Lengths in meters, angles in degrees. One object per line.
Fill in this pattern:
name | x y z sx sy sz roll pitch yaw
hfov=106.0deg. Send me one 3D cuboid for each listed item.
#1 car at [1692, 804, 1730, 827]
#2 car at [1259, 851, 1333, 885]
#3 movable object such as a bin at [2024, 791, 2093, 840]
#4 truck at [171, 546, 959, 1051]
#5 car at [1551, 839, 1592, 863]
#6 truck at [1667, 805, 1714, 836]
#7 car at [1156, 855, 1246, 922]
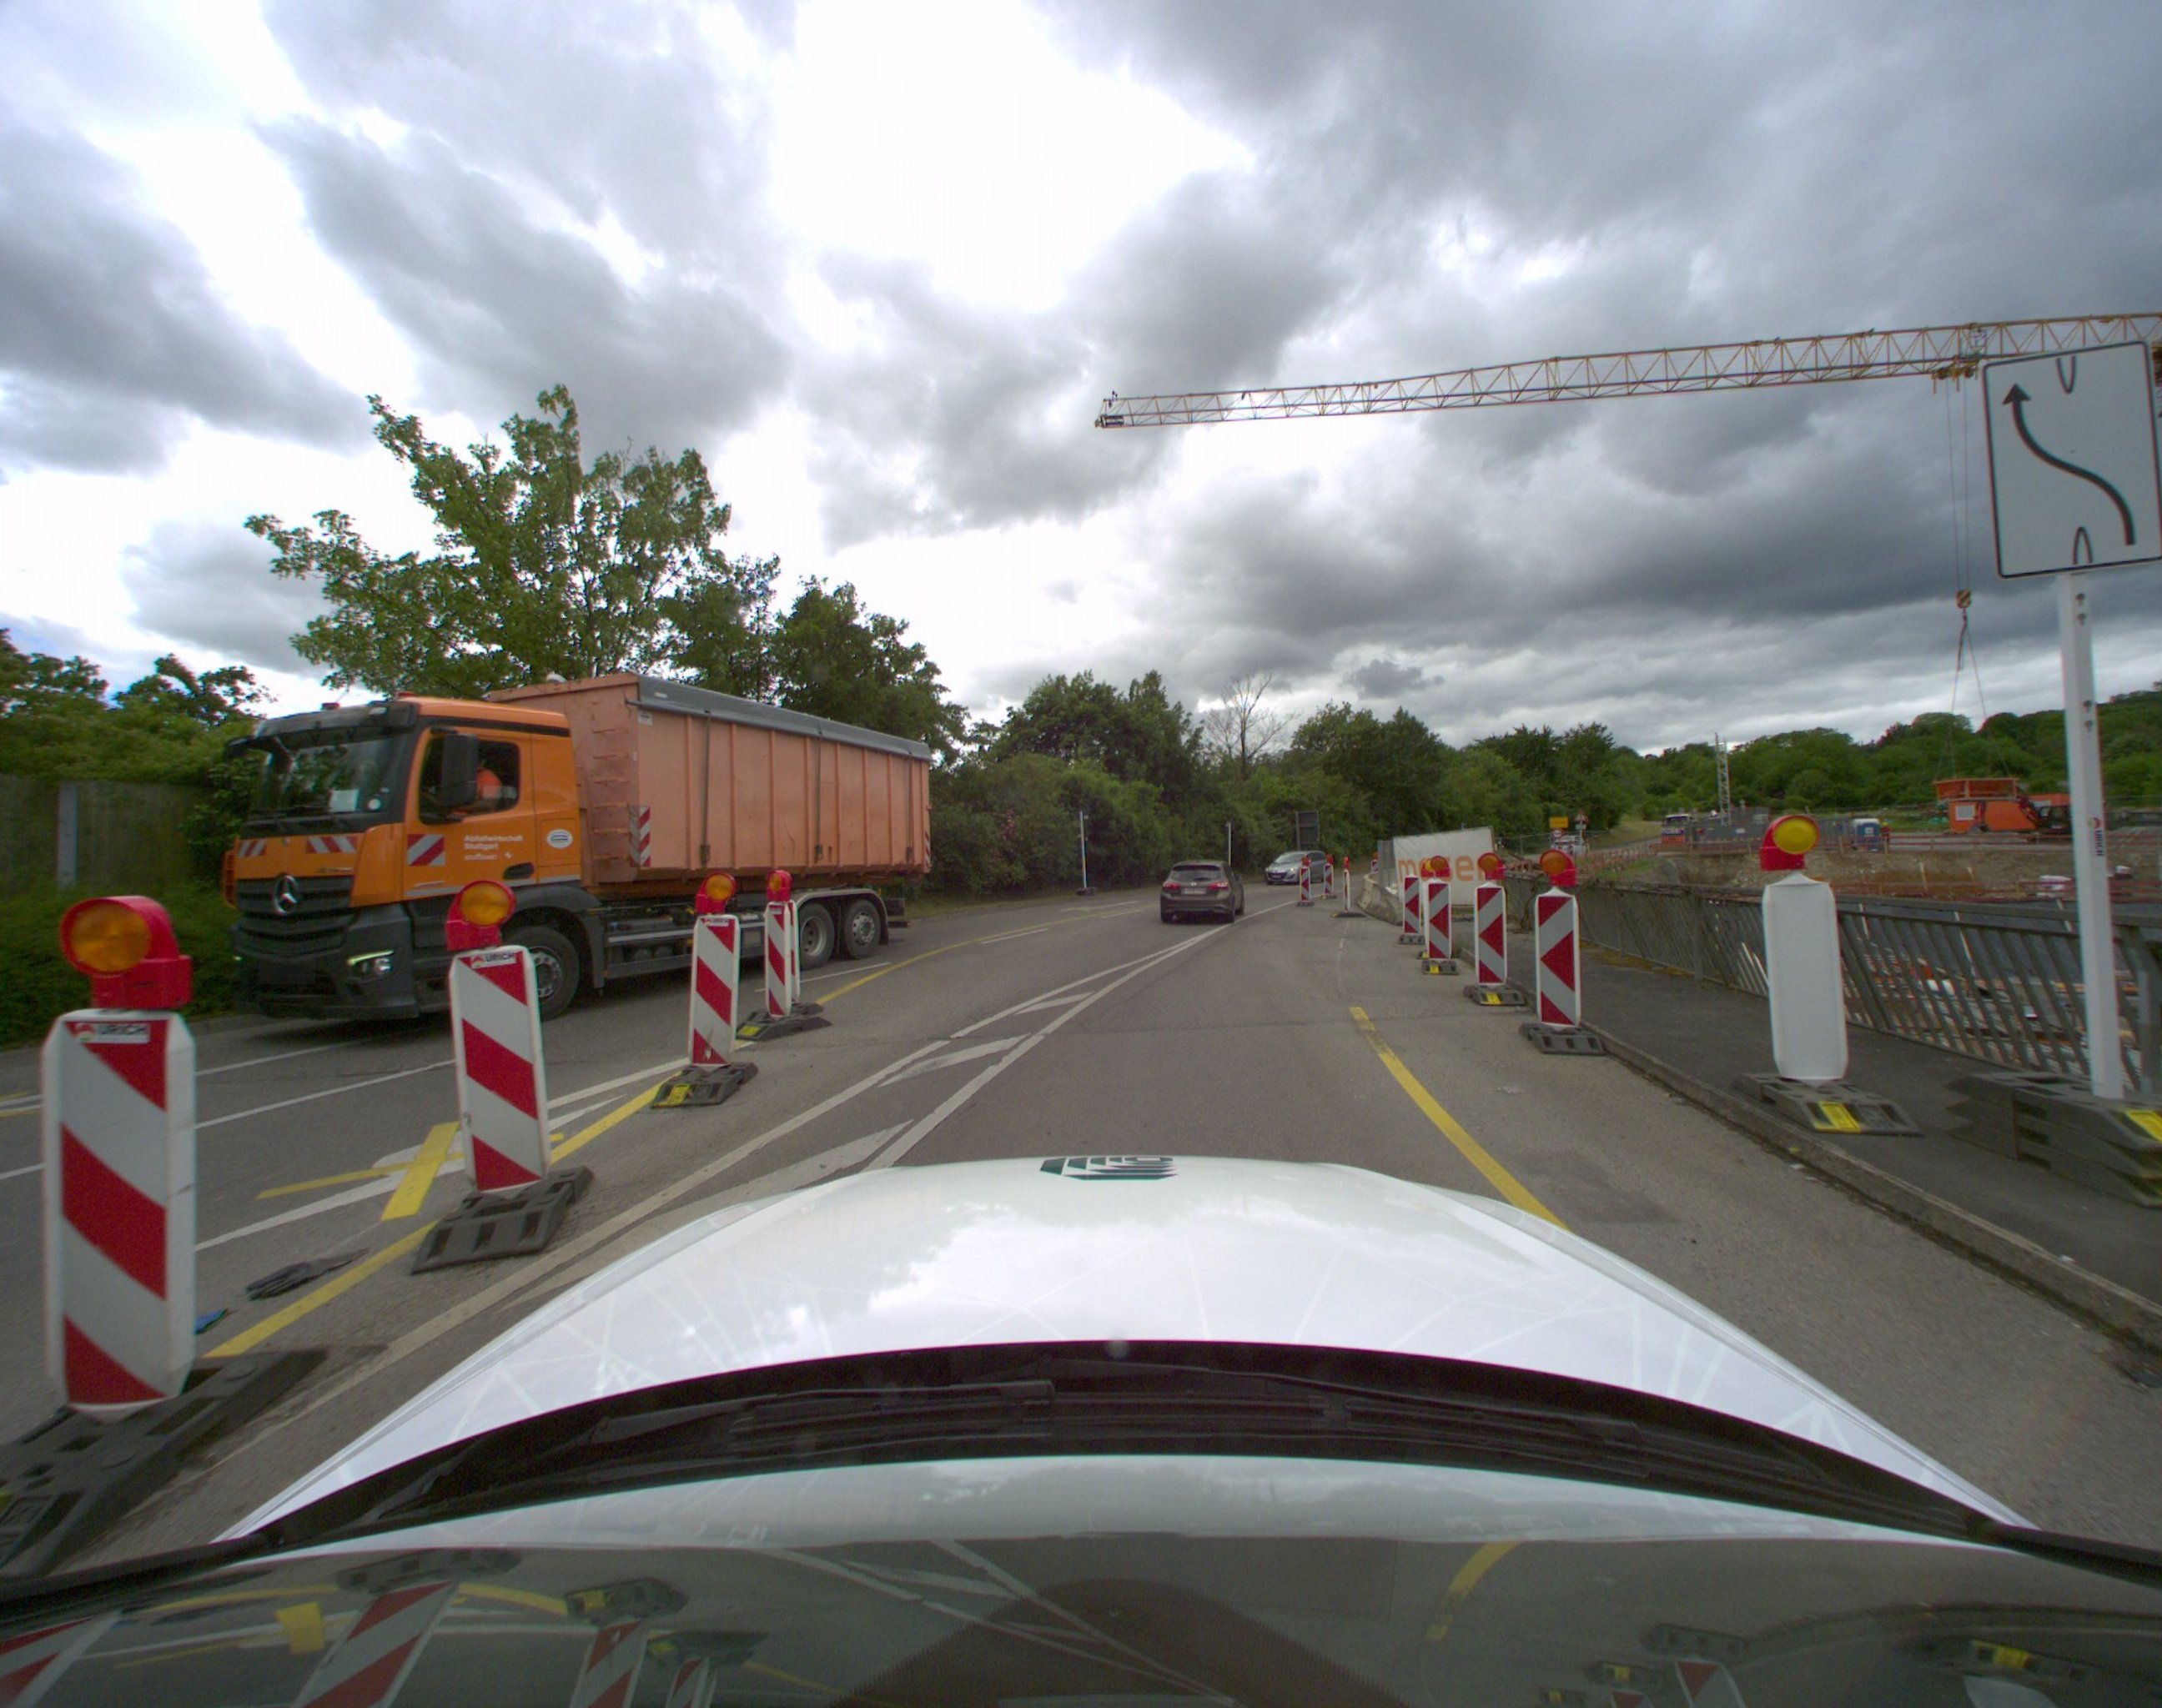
car | 59.804 -3.625 77.275 4.020 2.014 1.976 -1 -3 -40
car | 10.487 0.656 39.497 1.617 1.545 4.377 -2 -1 42
movable object such as a bin | 67.336 -2.599 56.178 1.851 3.077 2.766 -1 -3 -43
truck | -5.582 -0.413 11.934 3.084 4.221 9.841 -2 -1 19
car | 36.502 -0.216 60.527 1.695 1.675 4.024 -5 -3 43
truck | 74.529 -4.125 99.527 8.427 3.336 2.795 -3 -1 -42
car | 3.195 0.816 21.068 1.784 1.552 4.016 -1 0 15
